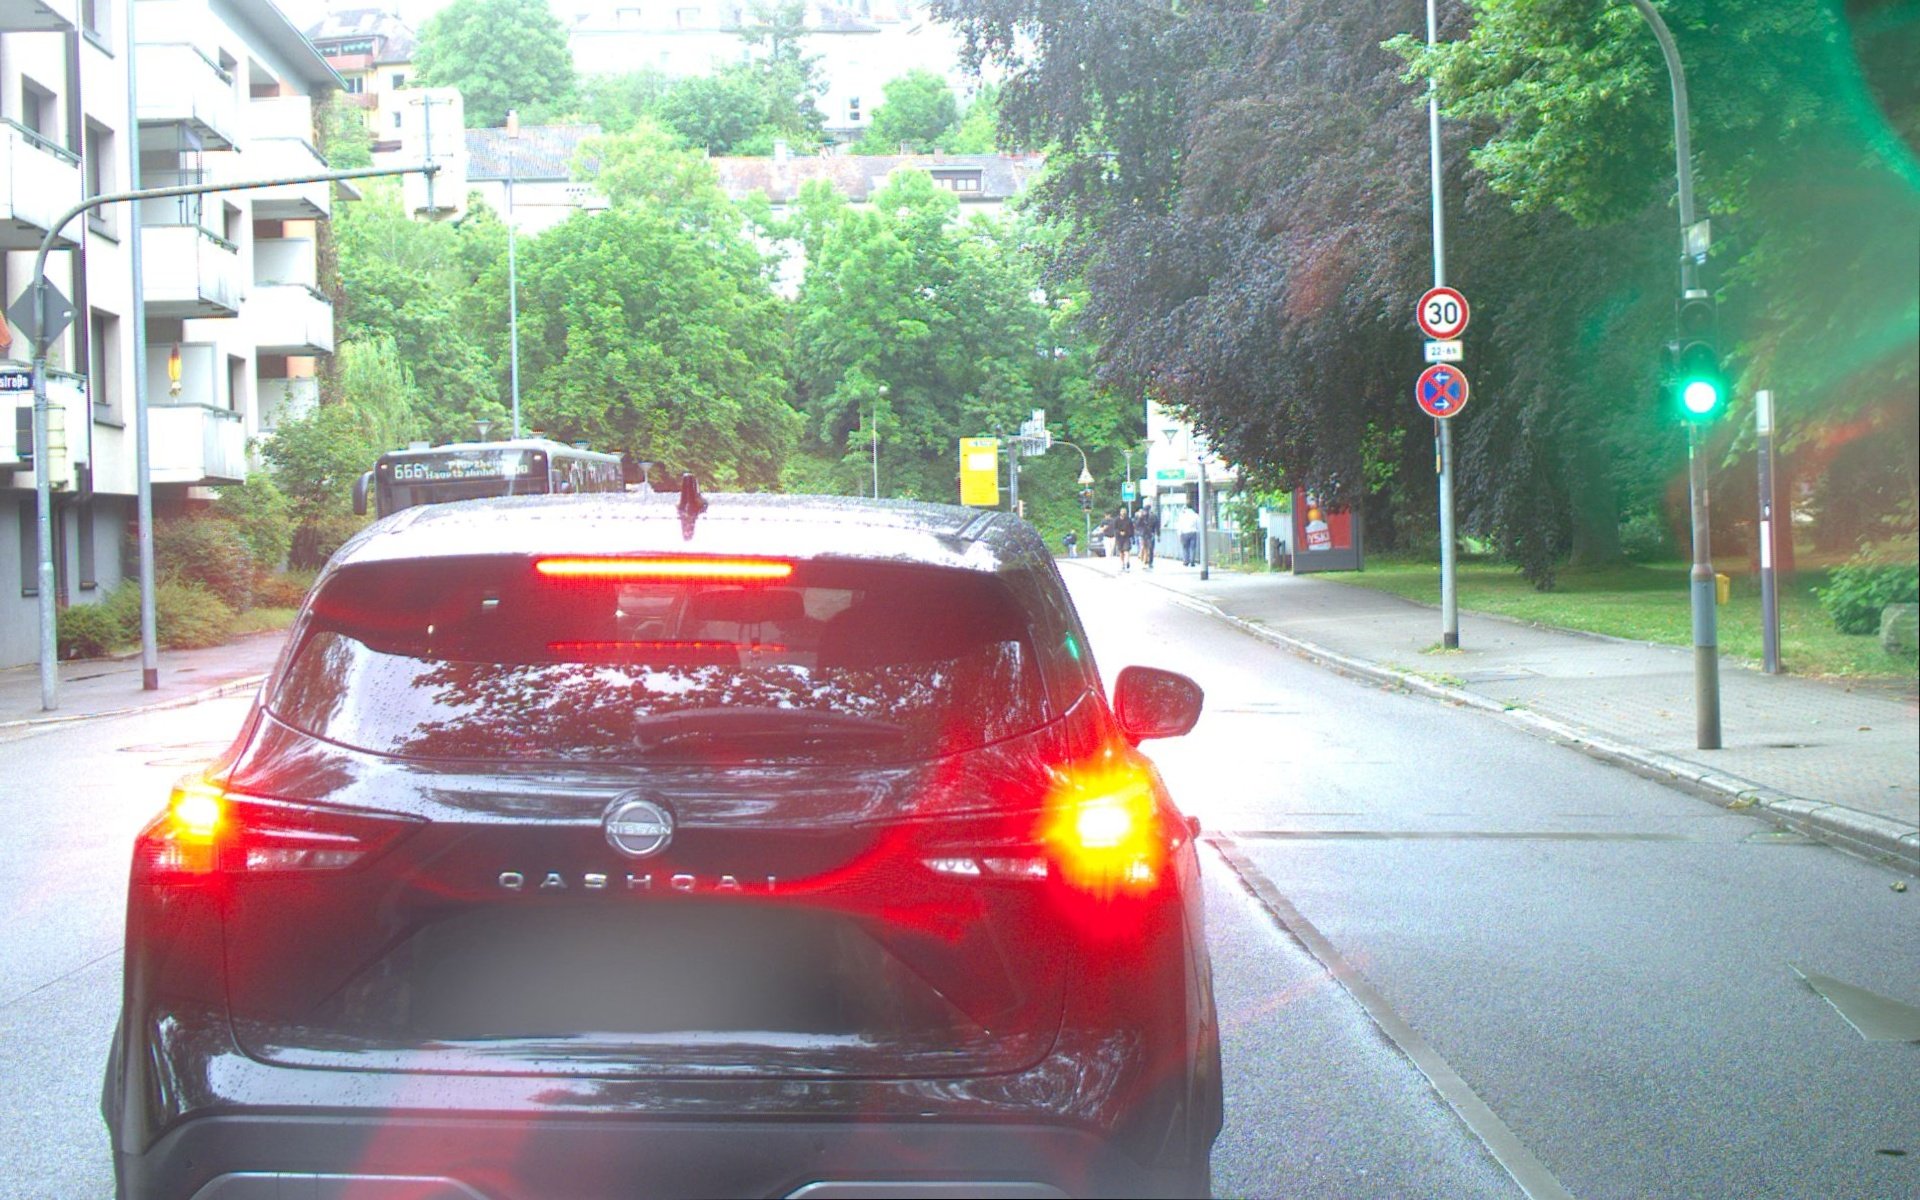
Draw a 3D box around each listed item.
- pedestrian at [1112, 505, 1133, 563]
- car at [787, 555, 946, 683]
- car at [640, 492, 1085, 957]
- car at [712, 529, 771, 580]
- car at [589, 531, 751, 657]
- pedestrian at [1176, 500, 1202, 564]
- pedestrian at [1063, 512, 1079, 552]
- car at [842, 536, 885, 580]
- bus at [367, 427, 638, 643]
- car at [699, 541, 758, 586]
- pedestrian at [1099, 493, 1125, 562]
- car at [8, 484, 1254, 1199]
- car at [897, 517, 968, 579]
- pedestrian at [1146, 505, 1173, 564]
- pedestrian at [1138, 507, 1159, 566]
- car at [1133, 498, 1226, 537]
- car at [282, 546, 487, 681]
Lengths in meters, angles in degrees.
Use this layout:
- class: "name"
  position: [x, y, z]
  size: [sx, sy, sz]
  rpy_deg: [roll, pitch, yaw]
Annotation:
- class: "pedestrian"
  position: [4.607, -1.873, 97.510]
  size: [0.544, 1.645, 0.490]
  rpy_deg: [1, 0, 0]
- class: "car"
  position: [-1.122, 0.191, 41.118]
  size: [1.808, 1.412, 4.031]
  rpy_deg: [0, 1, -2]
- class: "car"
  position: [-0.335, 0.435, 14.920]
  size: [1.622, 1.703, 3.771]
  rpy_deg: [-2, 1, 1]
- class: "car"
  position: [-7.503, -1.581, 118.458]
  size: [1.750, 1.628, 3.635]
  rpy_deg: [-2, 1, 0]
- class: "car"
  position: [-3.481, -0.107, 41.784]
  size: [1.624, 1.410, 3.455]
  rpy_deg: [-2, 1, 0]
- class: "pedestrian"
  position: [6.478, -1.924, 97.188]
  size: [0.618, 1.773, 0.778]
  rpy_deg: [-2, 1, -1]
- class: "pedestrian"
  position: [5.587, -3.415, 173.067]
  size: [0.699, 2.007, 0.583]
  rpy_deg: [-2, 1, -1]
- class: "car"
  position: [-4.588, -1.999, 163.872]
  size: [1.993, 2.007, 4.000]
  rpy_deg: [1, 1, -1]
- class: "bus"
  position: [-7.005, -1.009, 54.420]
  size: [2.766, 2.964, 11.782]
  rpy_deg: [-2, 1, -1]
- class: "car"
  position: [-7.341, -1.172, 109.284]
  size: [1.676, 1.291, 3.752]
  rpy_deg: [-3, 1, -2]
- class: "pedestrian"
  position: [4.785, -2.278, 108.229]
  size: [0.768, 2.176, 0.711]
  rpy_deg: [1, 0, 3]
- class: "car"
  position: [-0.507, 0.615, 7.026]
  size: [1.806, 1.584, 4.000]
  rpy_deg: [1, 1, -1]
- class: "car"
  position: [-0.655, -1.267, 83.173]
  size: [1.624, 1.410, 3.455]
  rpy_deg: [-2, 1, 0]
- class: "pedestrian"
  position: [5.645, -1.858, 97.450]
  size: [0.699, 1.645, 0.628]
  rpy_deg: [1, 0, 0]
- class: "pedestrian"
  position: [5.267, -1.776, 96.080]
  size: [0.514, 1.650, 0.550]
  rpy_deg: [1, 0, -1]
- class: "car"
  position: [10.495, -3.944, 164.439]
  size: [3.986, 1.678, 2.001]
  rpy_deg: [-2, 1, -10]
- class: "car"
  position: [-6.805, 0.122, 41.029]
  size: [1.808, 1.412, 4.031]
  rpy_deg: [-3, 1, -2]
